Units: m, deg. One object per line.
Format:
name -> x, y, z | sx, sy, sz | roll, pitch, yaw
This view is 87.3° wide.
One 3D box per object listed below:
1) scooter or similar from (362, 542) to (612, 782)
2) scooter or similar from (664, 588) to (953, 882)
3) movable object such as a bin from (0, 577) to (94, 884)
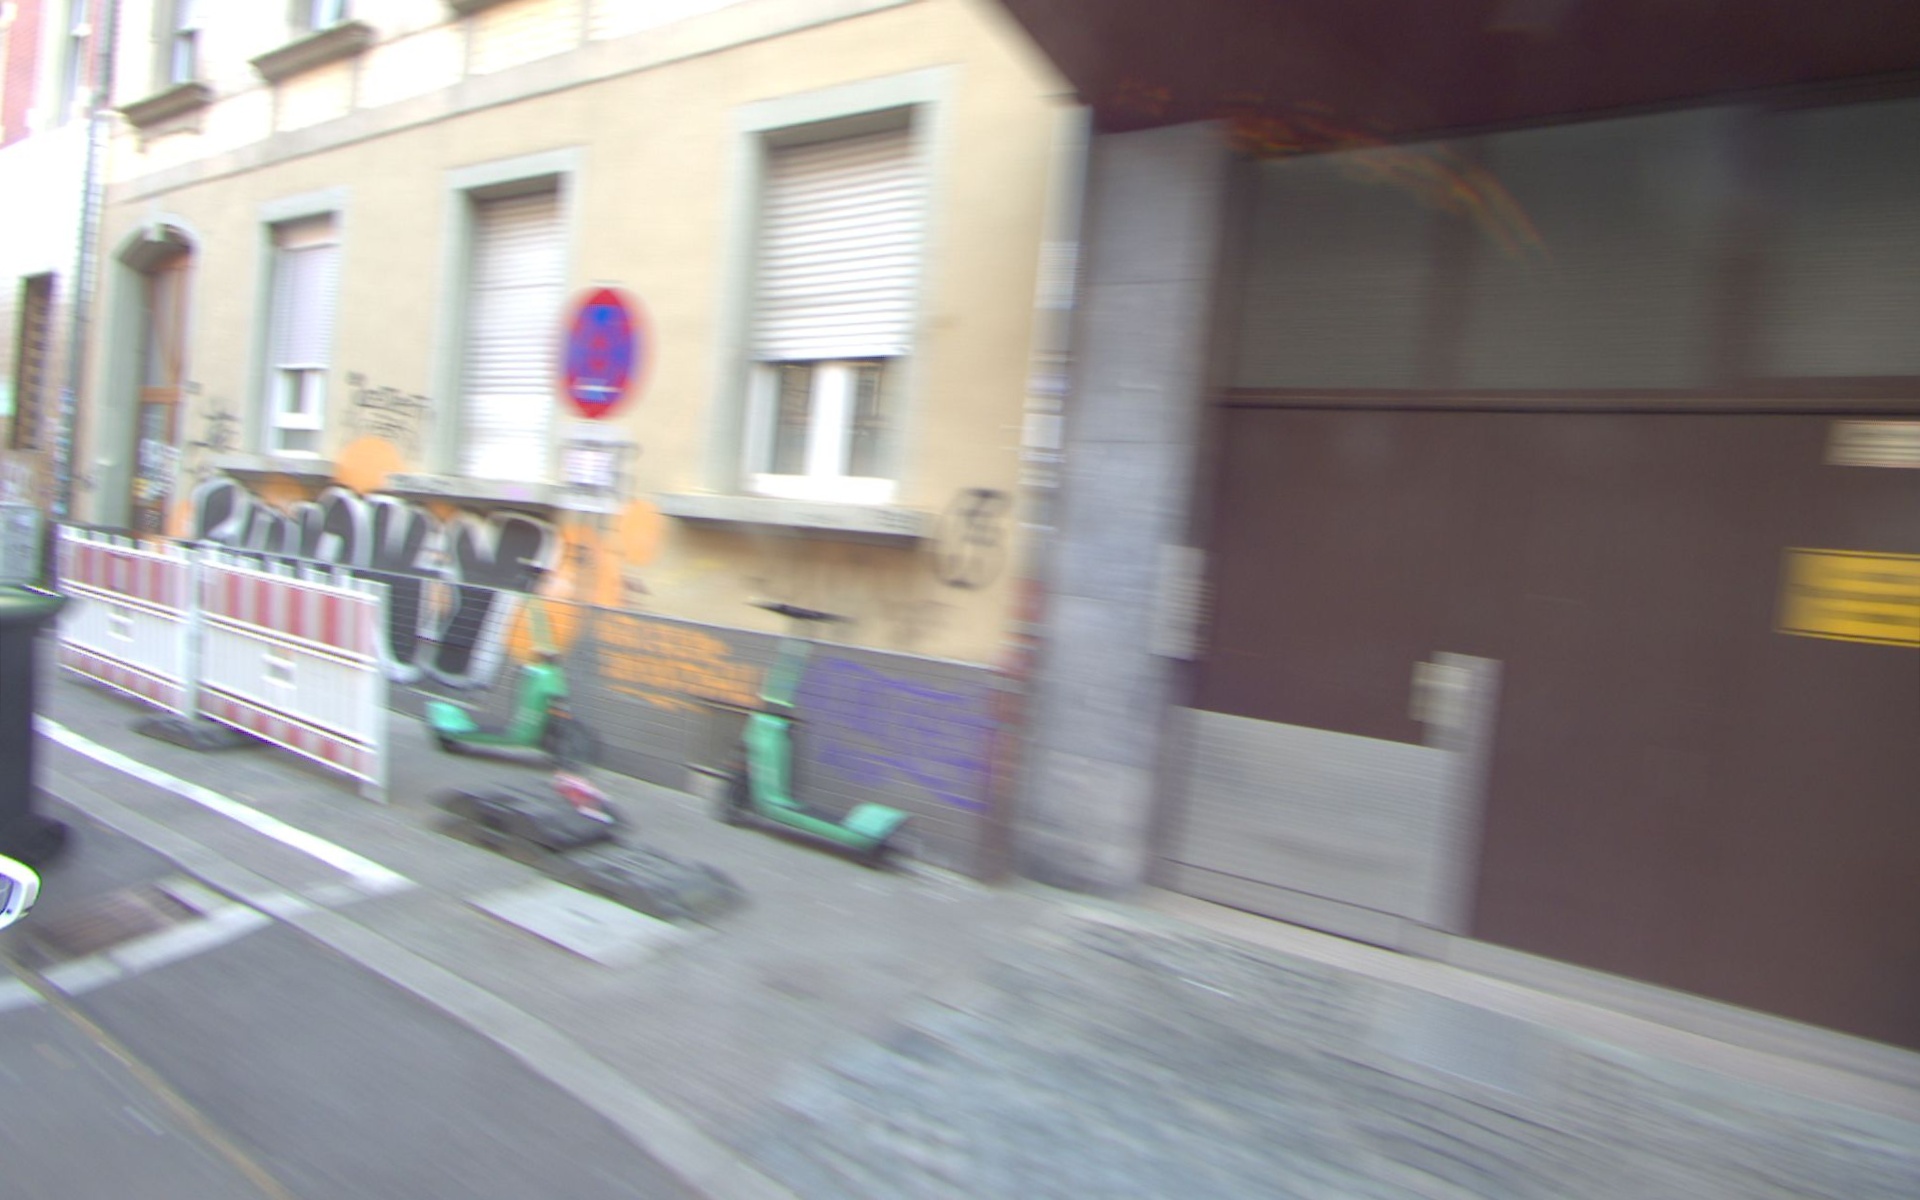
scooter or similar -> -2.824, 0.326, 5.986 | 1.417, 1.227, 0.455 | 6, 5, 19
scooter or similar -> -0.776, 0.589, 4.911 | 1.420, 1.160, 0.387 | 7, 6, 31
movable object such as a bin -> -3.814, 0.465, 3.705 | 0.676, 1.071, 0.740 | 7, 3, 31
